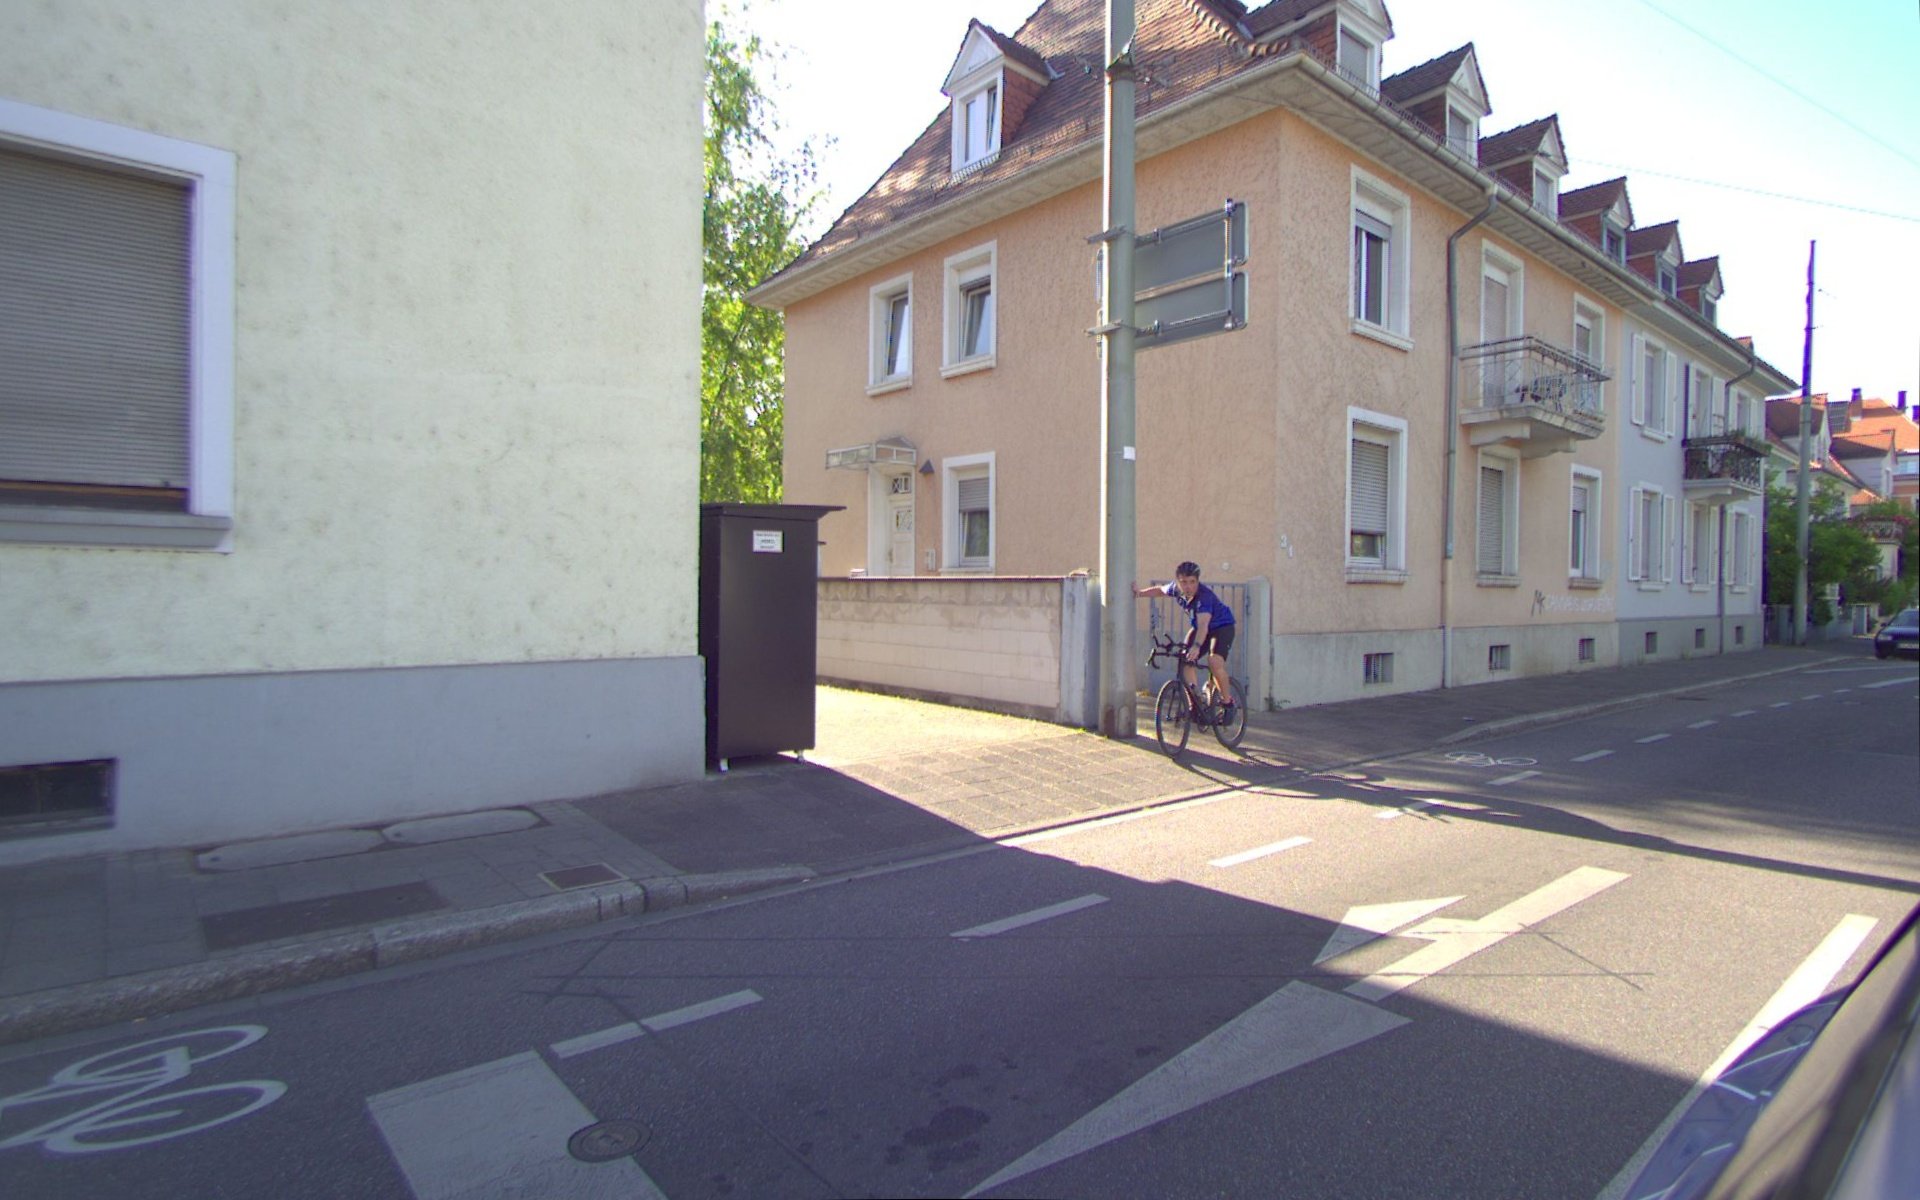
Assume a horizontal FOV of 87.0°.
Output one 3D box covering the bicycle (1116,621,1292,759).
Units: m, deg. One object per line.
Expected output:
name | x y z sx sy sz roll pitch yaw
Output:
bicycle | 2.267 0.773 9.303 1.744 1.081 0.592 0 5 -41

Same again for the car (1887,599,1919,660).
car | 26.695 0.754 27.369 3.742 1.601 1.696 0 -1 -36

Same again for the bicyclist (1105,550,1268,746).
bicyclist | 2.090 0.404 9.406 0.870 1.627 1.052 1 5 -41
